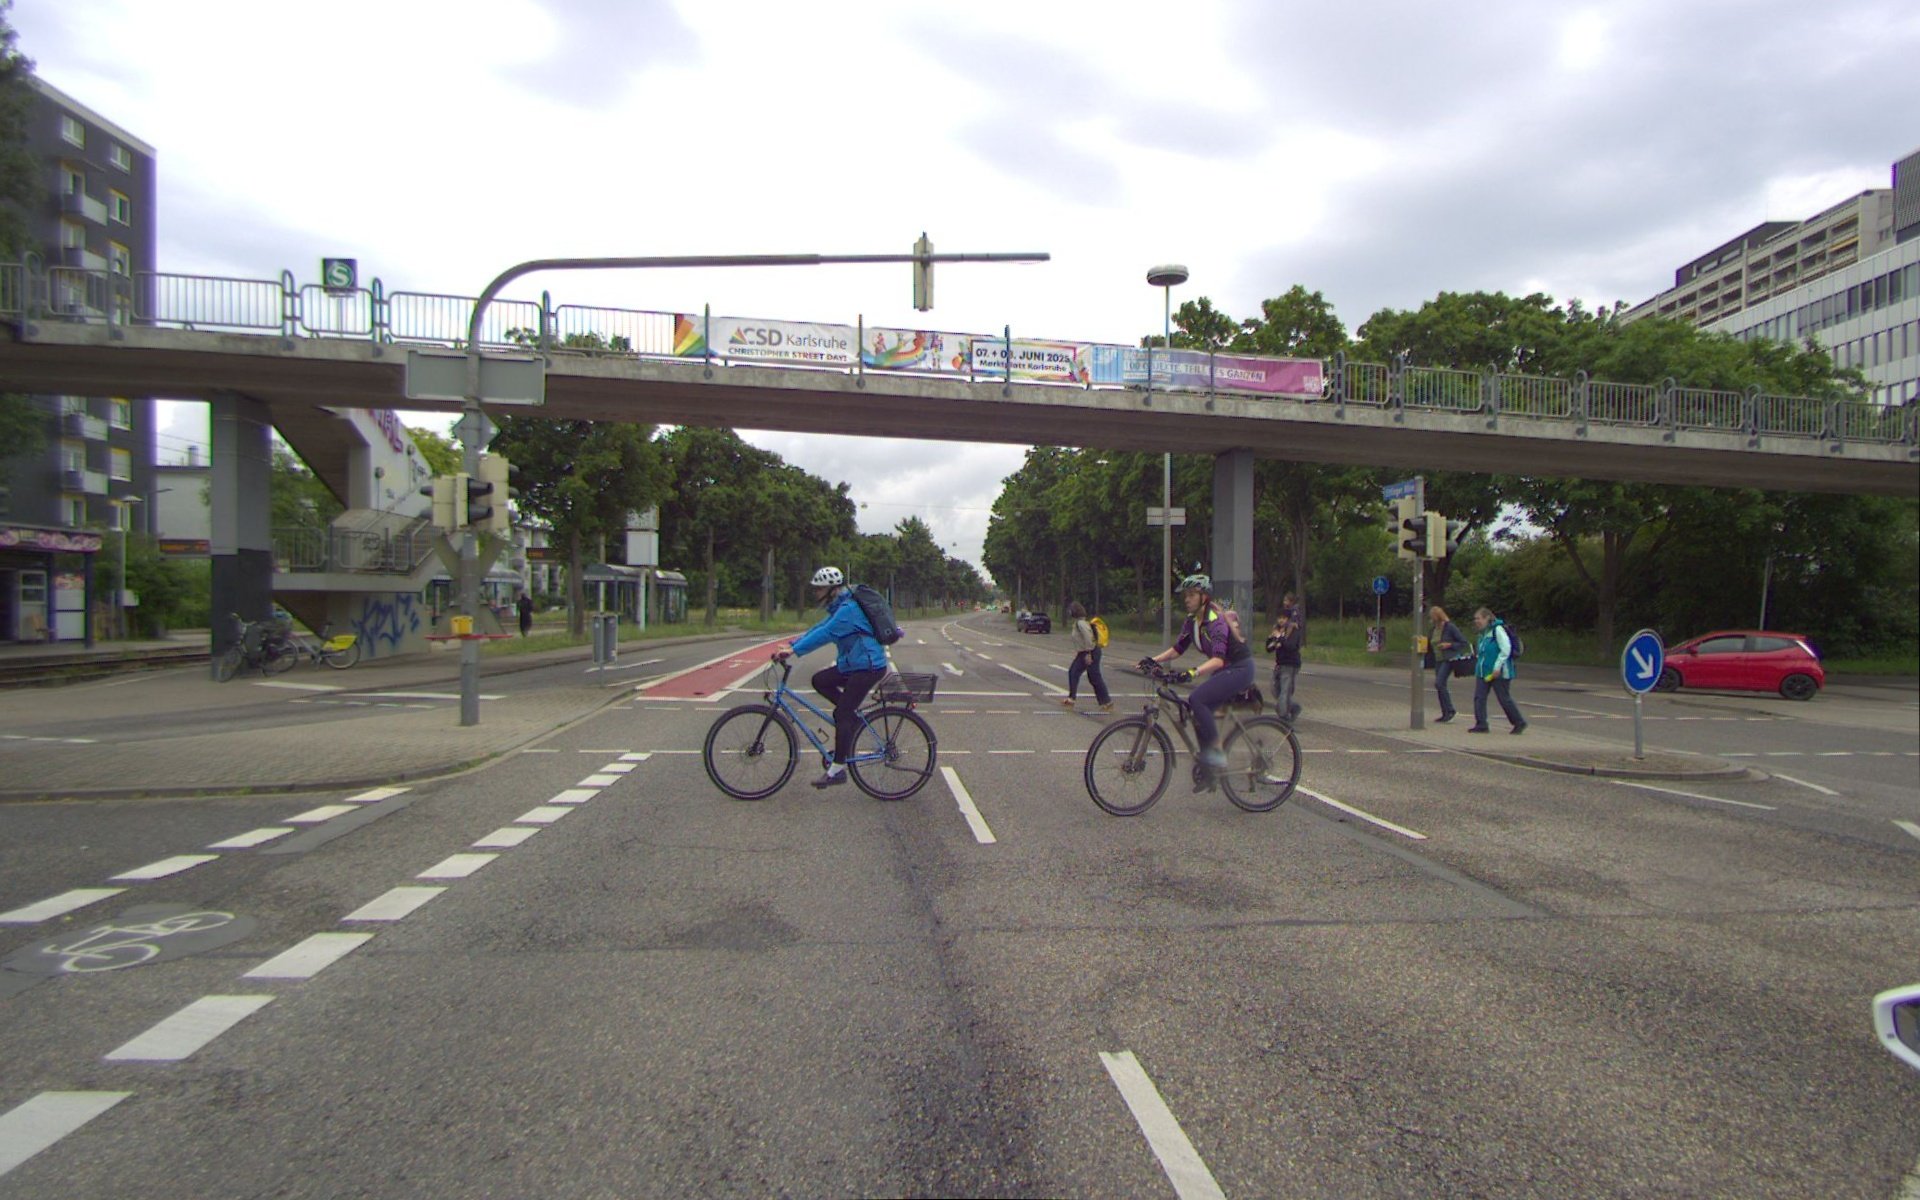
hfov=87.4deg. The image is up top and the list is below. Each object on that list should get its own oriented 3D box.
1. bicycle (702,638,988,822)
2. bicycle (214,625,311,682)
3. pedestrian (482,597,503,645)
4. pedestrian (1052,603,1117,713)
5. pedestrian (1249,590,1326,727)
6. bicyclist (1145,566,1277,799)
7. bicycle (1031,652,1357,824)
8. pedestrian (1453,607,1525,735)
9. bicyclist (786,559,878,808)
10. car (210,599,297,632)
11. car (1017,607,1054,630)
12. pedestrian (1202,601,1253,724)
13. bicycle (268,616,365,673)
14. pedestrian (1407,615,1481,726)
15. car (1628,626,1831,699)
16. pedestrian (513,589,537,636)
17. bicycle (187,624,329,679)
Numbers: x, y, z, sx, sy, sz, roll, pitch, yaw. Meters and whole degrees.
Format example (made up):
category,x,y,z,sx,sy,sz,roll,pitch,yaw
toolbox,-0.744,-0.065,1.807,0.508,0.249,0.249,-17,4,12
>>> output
category,x,y,z,sx,sy,sz,roll,pitch,yaw
bicycle,-0.864,0.944,7.612,2.074,1.284,0.543,1,0,-12
bicycle,-12.791,0.961,18.498,0.367,0.934,2.037,1,0,0
pedestrian,-15.458,0.697,33.188,0.550,1.585,0.334,1,0,-11
pedestrian,1.866,0.857,15.108,0.772,1.600,0.576,1,0,-30
pedestrian,4.520,0.789,13.879,0.790,1.828,0.636,0,0,-21
bicyclist,1.825,0.582,7.368,0.683,1.615,0.679,1,0,-12
bicycle,1.690,0.960,7.337,2.225,1.116,0.727,1,0,-12
pedestrian,6.963,0.915,13.240,0.480,1.626,0.687,0,0,-16
bicyclist,-0.986,0.610,7.643,0.635,1.792,0.645,0,0,-12
car,-35.832,0.787,51.067,1.636,1.581,3.999,1,0,-1
car,5.281,1.278,70.713,1.642,1.528,4.392,0,0,-8
pedestrian,3.814,0.876,14.343,0.400,1.714,0.616,0,0,-25
bicycle,-12.920,0.883,20.191,1.601,1.109,0.347,1,0,-39
pedestrian,6.926,0.985,14.406,0.398,1.531,0.915,0,0,-22
car,17.041,1.330,22.424,3.474,1.409,1.512,1,0,36
pedestrian,-15.620,0.456,36.075,0.590,1.664,0.663,0,0,-7
bicycle,-12.894,0.914,18.559,0.546,0.900,2.408,1,0,12
